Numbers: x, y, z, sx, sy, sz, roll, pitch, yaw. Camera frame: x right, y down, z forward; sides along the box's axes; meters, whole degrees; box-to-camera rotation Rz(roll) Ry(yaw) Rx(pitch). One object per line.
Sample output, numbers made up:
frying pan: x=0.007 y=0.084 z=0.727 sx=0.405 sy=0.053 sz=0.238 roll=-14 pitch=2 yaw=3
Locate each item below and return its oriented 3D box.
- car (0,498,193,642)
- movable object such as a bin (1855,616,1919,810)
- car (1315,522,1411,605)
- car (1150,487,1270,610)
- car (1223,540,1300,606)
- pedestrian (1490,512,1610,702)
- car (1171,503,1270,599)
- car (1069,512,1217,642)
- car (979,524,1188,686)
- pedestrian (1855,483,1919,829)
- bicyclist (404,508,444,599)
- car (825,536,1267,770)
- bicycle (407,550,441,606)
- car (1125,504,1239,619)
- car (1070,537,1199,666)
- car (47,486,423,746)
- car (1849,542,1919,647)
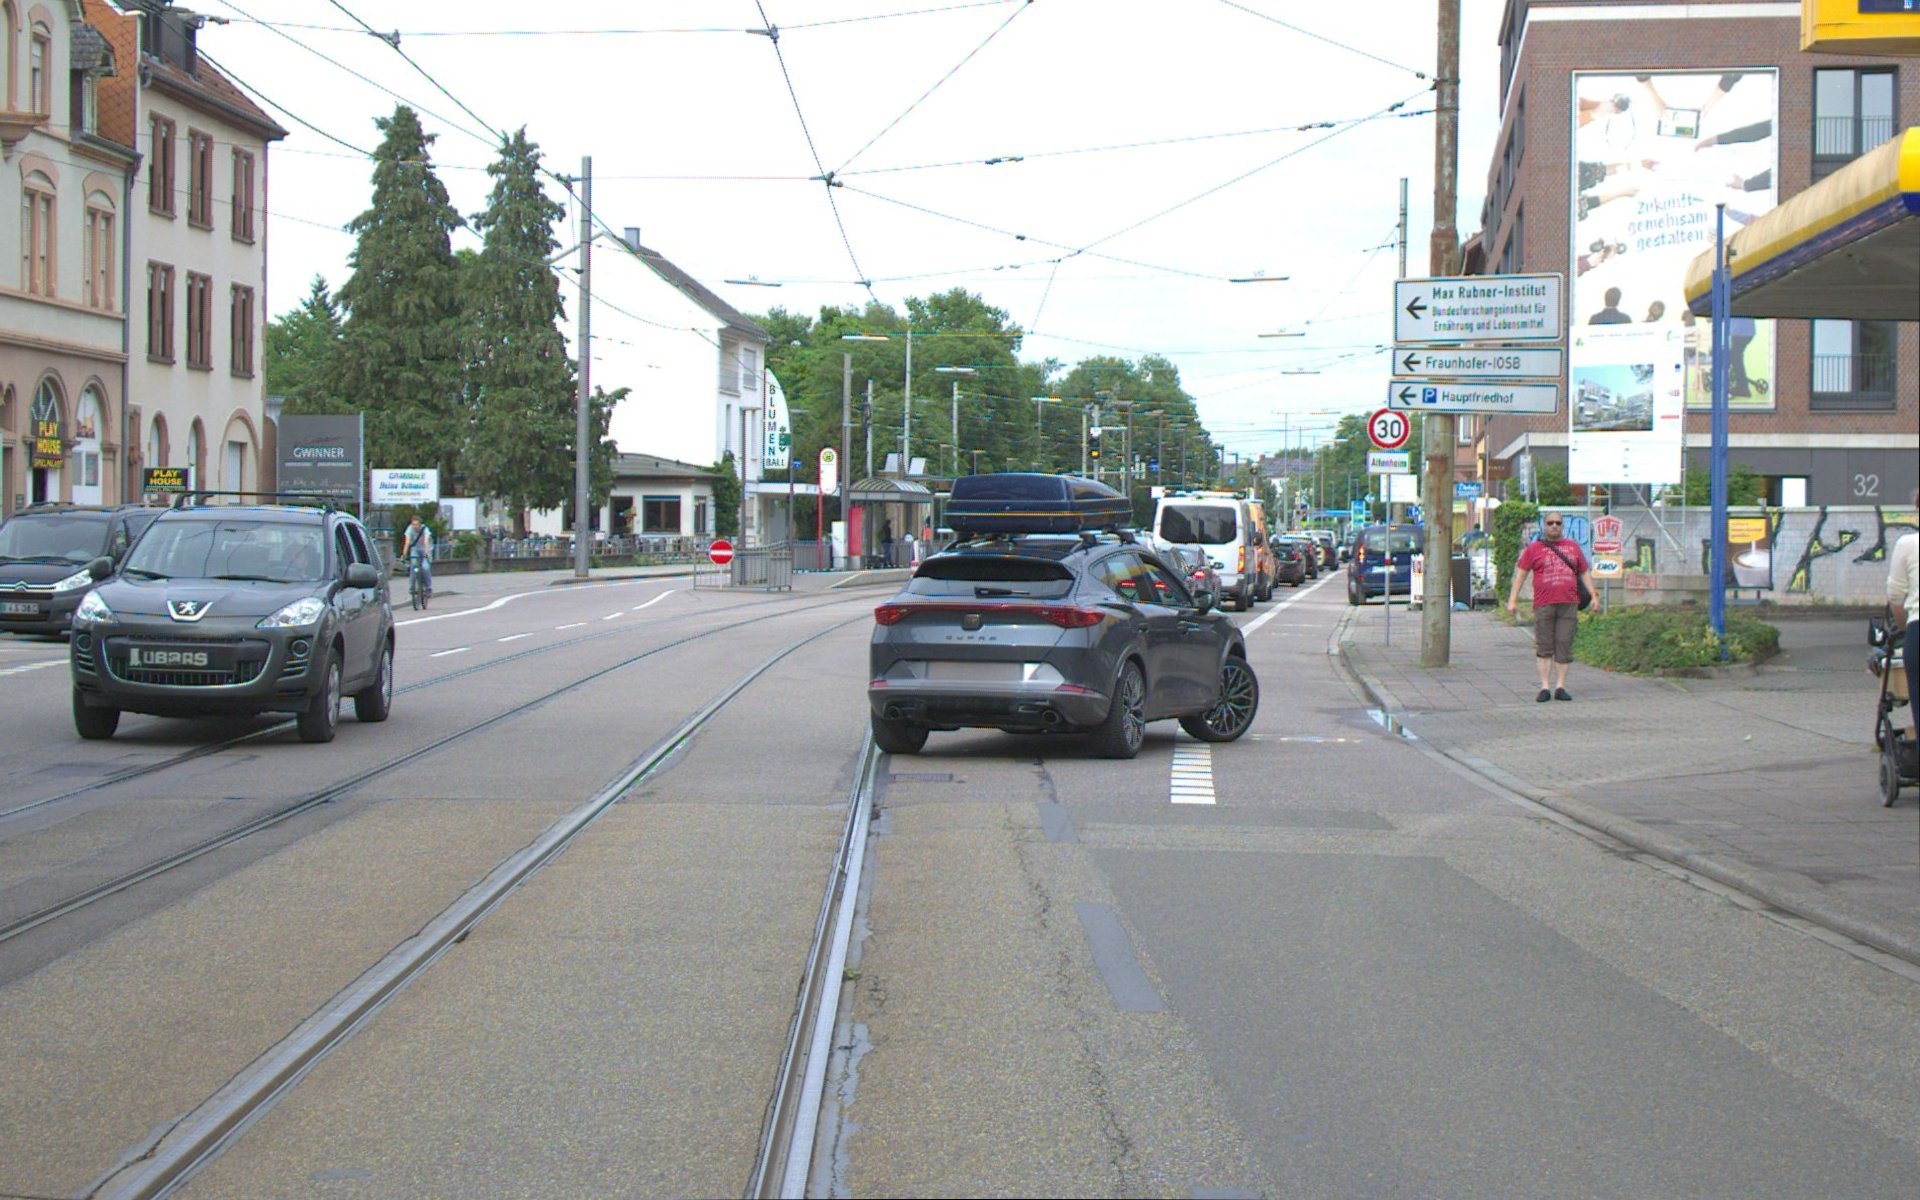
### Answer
car: x=-12.491 y=-0.438 z=48.477 sx=1.992 sy=1.880 sz=4.998 roll=2 pitch=1 yaw=2
movable object such as a bin: x=5.442 y=0.621 z=19.302 sx=0.768 sy=1.035 sz=1.023 roll=-1 pitch=1 yaw=14
car: x=9.324 y=-0.843 z=79.877 sx=1.874 sy=1.817 sz=4.096 roll=2 pitch=1 yaw=3
car: x=5.169 y=-1.062 z=71.692 sx=2.216 sy=2.415 sz=4.951 roll=2 pitch=1 yaw=2
car: x=9.622 y=-0.864 z=109.895 sx=1.993 sy=2.007 sz=4.000 roll=2 pitch=1 yaw=0
pedestrian: x=5.530 y=0.060 z=32.254 sx=0.972 sy=1.732 sz=0.861 roll=-2 pitch=0 yaw=3
car: x=6.099 y=-1.142 z=81.056 sx=2.139 sy=2.138 sz=4.743 roll=2 pitch=1 yaw=3
car: x=2.624 y=-0.342 z=50.097 sx=1.969 sy=1.750 sz=3.838 roll=2 pitch=1 yaw=1
car: x=1.235 y=0.008 z=36.181 sx=1.981 sy=1.544 sz=4.183 roll=2 pitch=1 yaw=0
pedestrian: x=5.192 y=0.276 z=18.307 sx=0.768 sy=1.790 sz=1.161 roll=-1 pitch=1 yaw=14
bicyclist: x=-10.442 y=-0.910 z=66.952 sx=0.735 sy=1.743 sz=0.979 roll=-1 pitch=1 yaw=-10
car: x=0.728 y=0.306 z=24.632 sx=1.992 sy=1.492 sz=4.322 roll=1 pitch=1 yaw=18
bicycle: x=-10.436 y=-0.433 z=66.958 sx=0.586 sy=1.070 sz=1.958 roll=-1 pitch=1 yaw=-10
car: x=4.122 y=-0.715 z=64.206 sx=1.994 sy=2.007 sz=4.000 roll=2 pitch=1 yaw=3
car: x=2.864 y=0.007 z=57.045 sx=1.993 sy=2.007 sz=4.000 roll=2 pitch=1 yaw=2
car: x=-5.205 y=0.080 z=25.242 sx=1.827 sy=1.731 sz=4.335 roll=0 pitch=1 yaw=0
car: x=14.194 y=-0.060 z=46.918 sx=1.946 sy=1.422 sz=4.888 roll=0 pitch=1 yaw=-13
